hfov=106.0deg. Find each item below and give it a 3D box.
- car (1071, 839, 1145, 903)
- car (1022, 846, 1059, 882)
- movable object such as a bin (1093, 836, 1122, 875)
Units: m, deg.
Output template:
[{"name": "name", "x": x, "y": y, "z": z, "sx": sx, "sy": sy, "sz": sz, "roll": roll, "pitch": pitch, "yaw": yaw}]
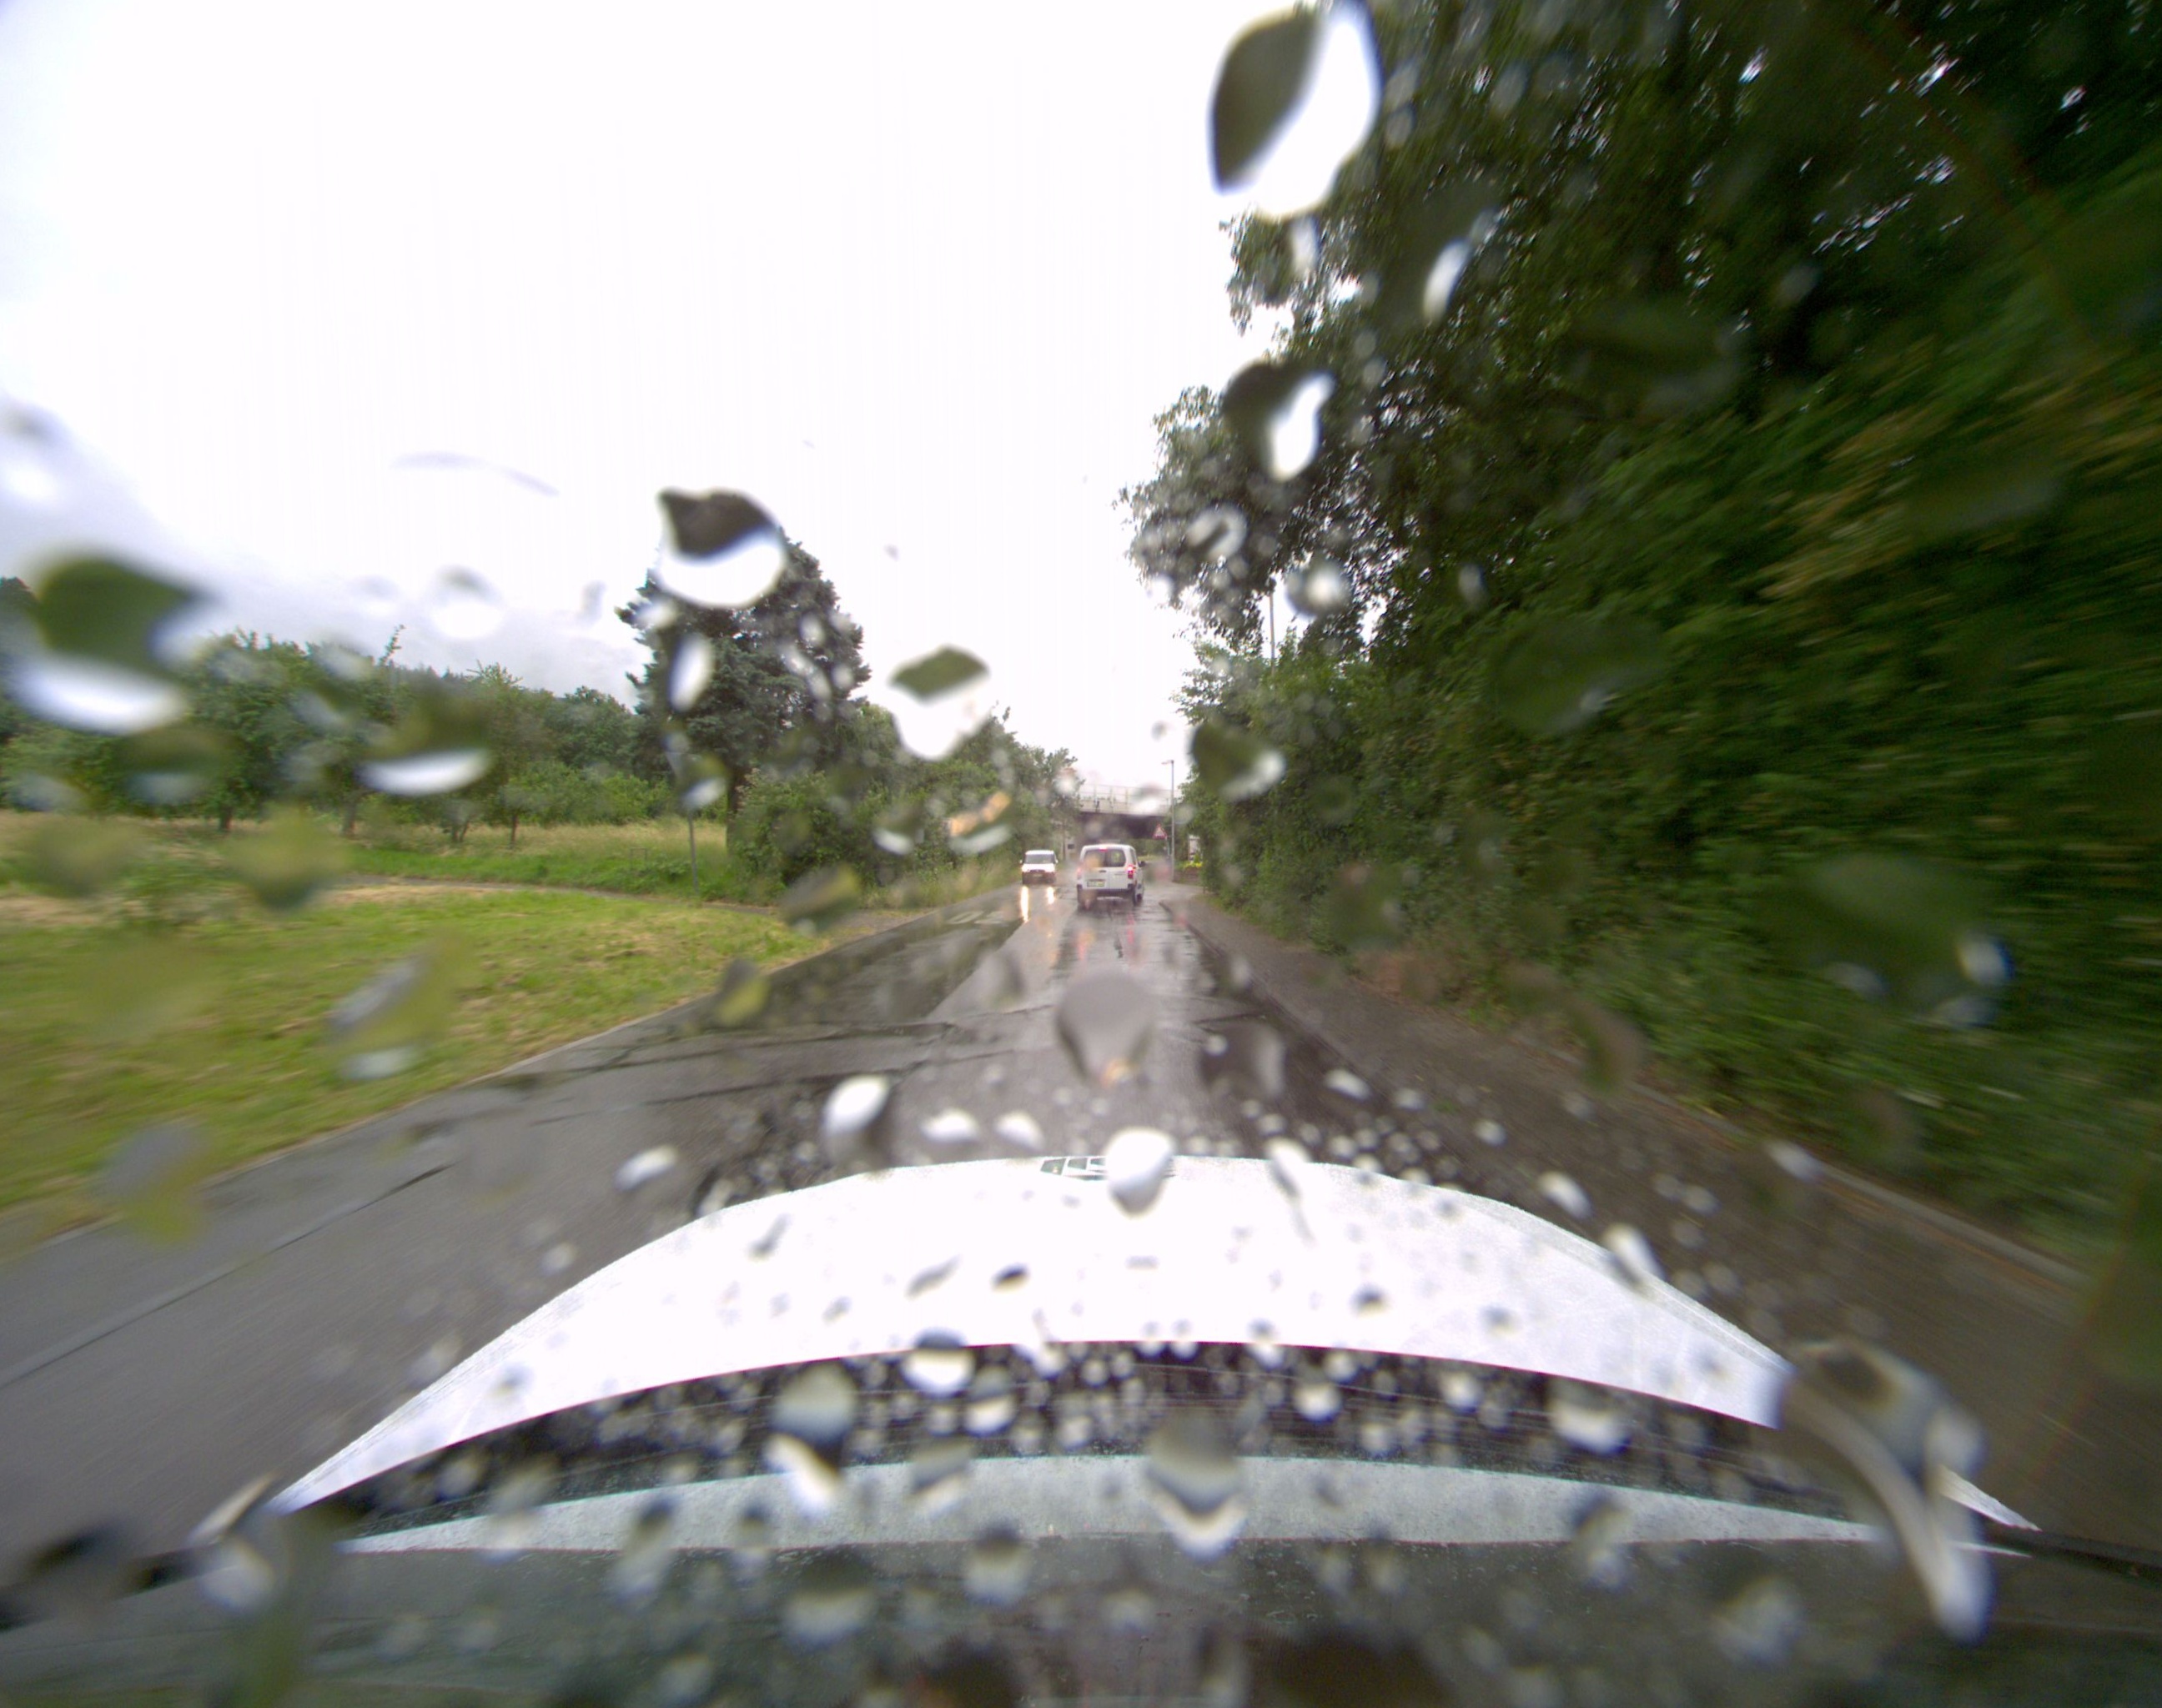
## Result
[{"name": "car", "x": 0.950, "y": 0.473, "z": 25.944, "sx": 1.886, "sy": 1.807, "sz": 4.009, "roll": -3, "pitch": 1, "yaw": 8}, {"name": "car", "x": -2.191, "y": 0.526, "z": 45.126, "sx": 1.817, "sy": 1.831, "sz": 4.307, "roll": -1, "pitch": 0, "yaw": 0}, {"name": "movable object such as a bin", "x": 1.834, "y": 0.117, "z": 55.736, "sx": 1.753, "sy": 2.547, "sz": 4.244, "roll": -1, "pitch": 0, "yaw": 4}]
